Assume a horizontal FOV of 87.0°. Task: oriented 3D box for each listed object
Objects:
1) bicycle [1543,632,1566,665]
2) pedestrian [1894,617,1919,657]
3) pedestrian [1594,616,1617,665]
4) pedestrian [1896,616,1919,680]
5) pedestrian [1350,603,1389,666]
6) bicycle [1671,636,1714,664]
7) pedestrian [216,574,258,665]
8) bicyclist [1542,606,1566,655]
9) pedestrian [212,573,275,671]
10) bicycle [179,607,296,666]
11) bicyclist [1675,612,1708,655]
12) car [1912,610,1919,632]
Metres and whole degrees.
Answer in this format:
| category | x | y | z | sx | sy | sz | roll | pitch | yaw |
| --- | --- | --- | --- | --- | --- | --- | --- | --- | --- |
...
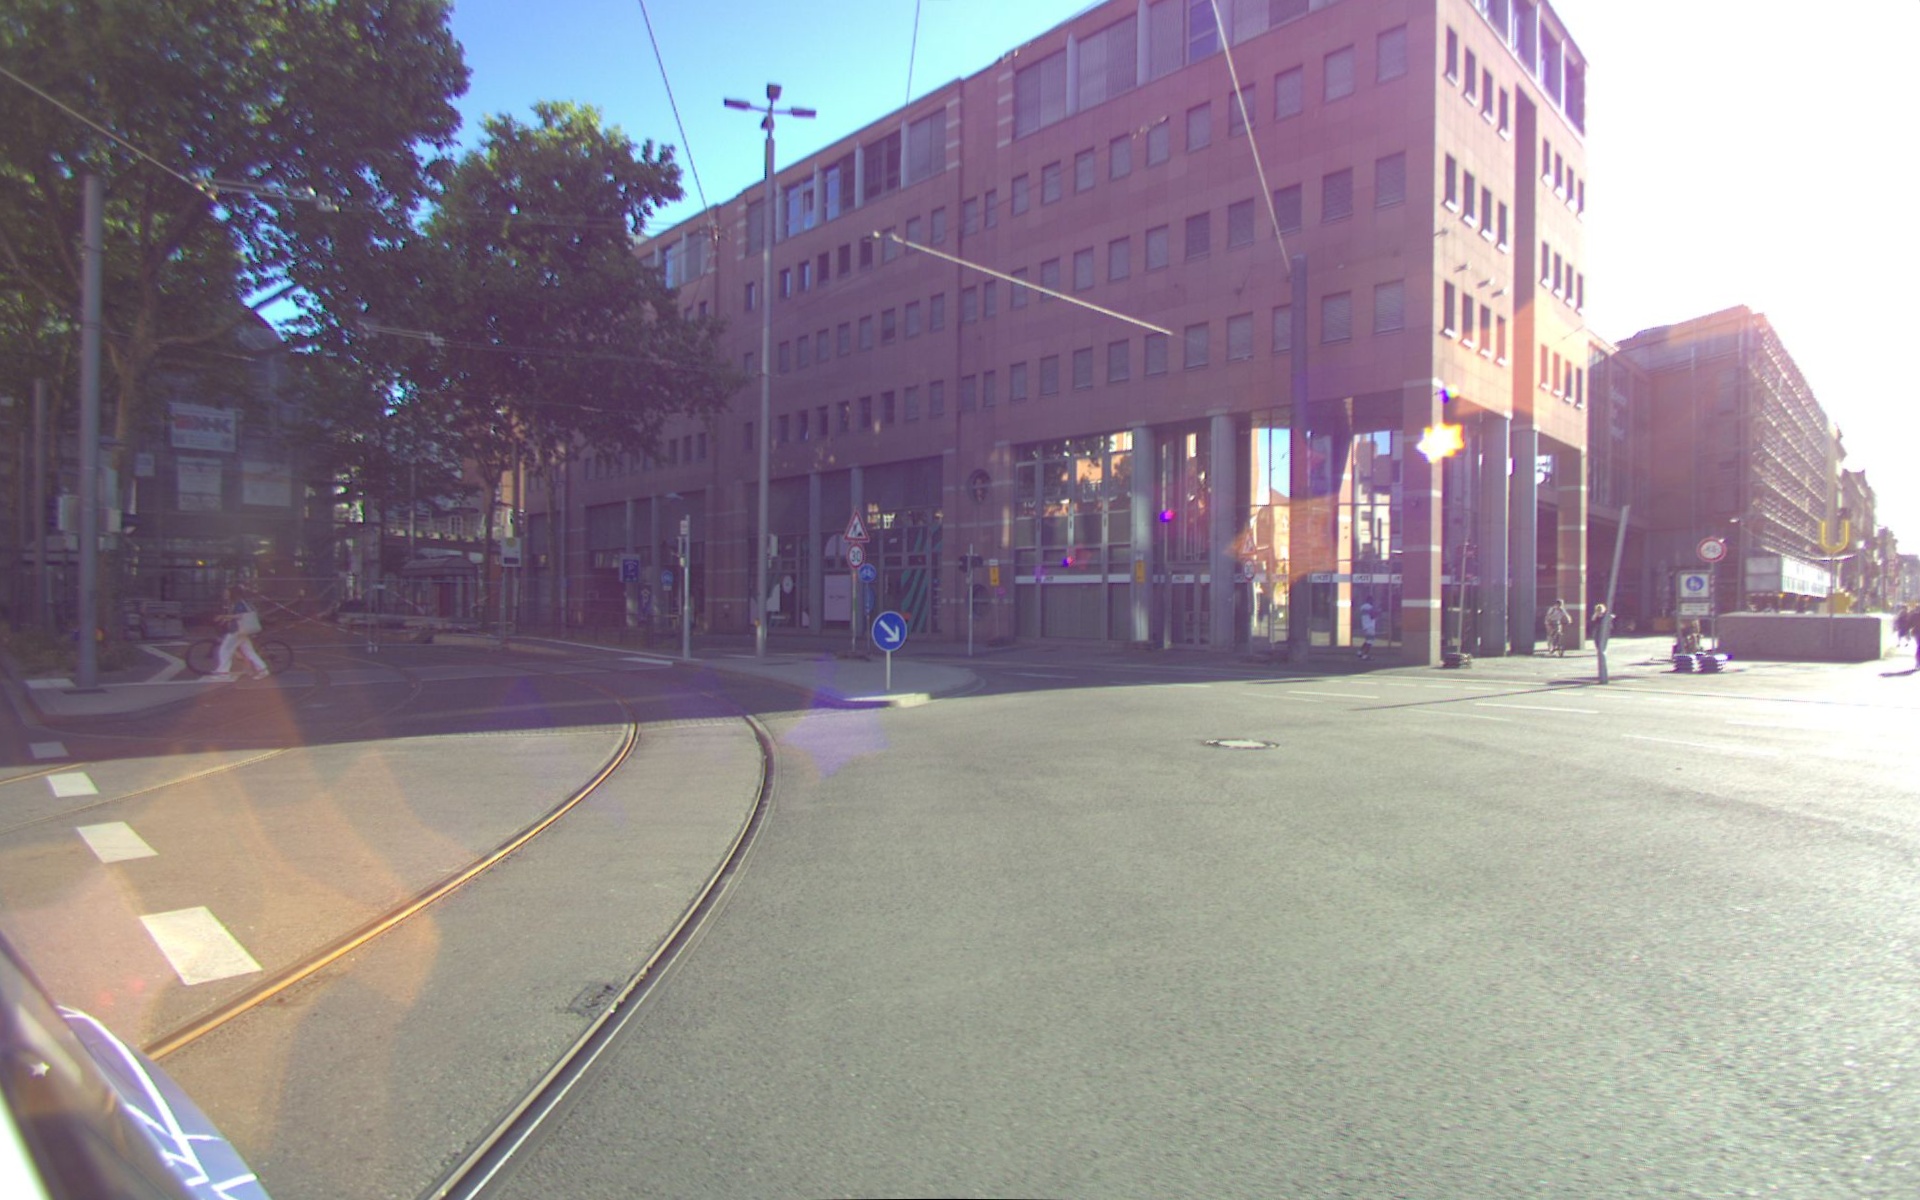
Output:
| category | x | y | z | sx | sy | sz | roll | pitch | yaw |
| --- | --- | --- | --- | --- | --- | --- | --- | --- | --- |
| bicycle | 18.372 | 1.485 | 31.286 | 0.581 | 0.919 | 1.945 | 1 | 0 | 29 |
| pedestrian | 39.632 | 1.533 | 42.189 | 0.741 | 1.678 | 0.698 | 0 | -1 | -6 |
| pedestrian | 20.634 | 1.277 | 32.335 | 0.560 | 1.548 | 0.485 | 1 | -1 | 28 |
| pedestrian | 25.448 | 1.251 | 26.560 | 0.893 | 1.678 | 0.886 | 0 | -1 | -10 |
| pedestrian | 10.746 | 0.893 | 26.547 | 0.632 | 1.630 | 0.724 | 1 | -1 | -41 |
| bicycle | 23.221 | 1.571 | 32.103 | 0.613 | 0.814 | 2.004 | -1 | -1 | 22 |
| pedestrian | -13.720 | 0.374 | 19.203 | 0.559 | 1.692 | 0.531 | 1 | -1 | -44 |
| bicyclist | 18.362 | 0.940 | 31.303 | 0.581 | 1.496 | 0.741 | -2 | -1 | 29 |
| pedestrian | -13.172 | 0.399 | 18.603 | 0.848 | 1.747 | 0.769 | -1 | -1 | 42 |
| bicycle | -13.997 | 0.688 | 19.644 | 1.808 | 1.087 | 0.481 | 1 | -1 | -45 |
| bicyclist | 23.233 | 1.051 | 32.152 | 0.613 | 1.322 | 0.950 | -1 | -1 | 22 |
| car | 137.205 | 2.904 | 141.157 | 6.294 | 2.929 | 2.536 | 0 | 1 | 39 |
